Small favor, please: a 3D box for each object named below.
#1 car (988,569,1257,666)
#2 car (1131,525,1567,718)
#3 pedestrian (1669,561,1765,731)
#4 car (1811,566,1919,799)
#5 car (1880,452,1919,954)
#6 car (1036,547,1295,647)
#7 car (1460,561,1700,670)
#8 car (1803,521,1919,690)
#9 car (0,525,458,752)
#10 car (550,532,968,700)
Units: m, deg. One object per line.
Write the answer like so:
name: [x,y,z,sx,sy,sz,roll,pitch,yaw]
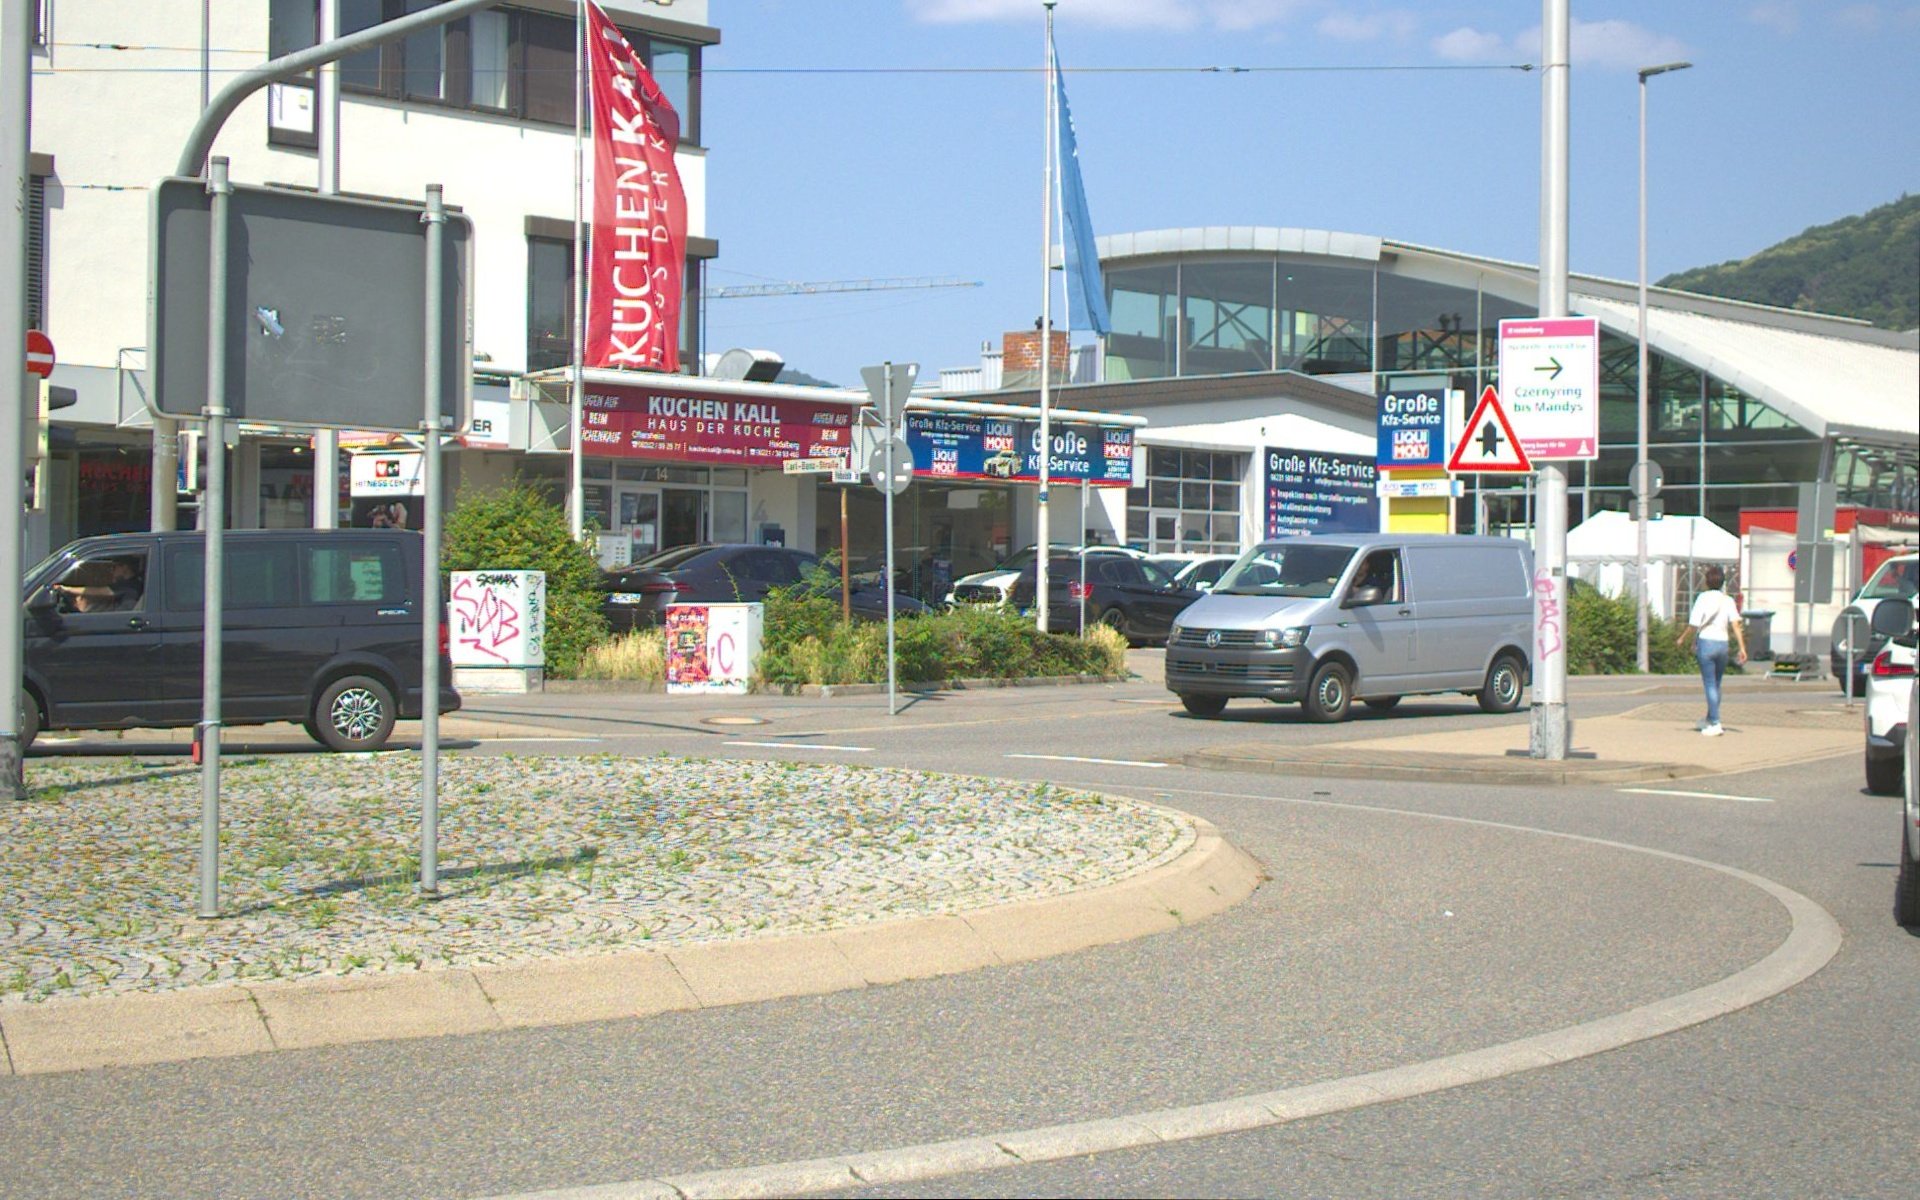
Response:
car: [2.556,0.264,53.300,2.031,1.422,4.307,1,0,38]
car: [4.225,0.212,36.794,4.815,1.929,1.932,0,0,-43]
pedestrian: [7.447,0.446,33.839,0.759,1.651,0.673,1,0,-2]
car: [8.104,0.608,27.633,1.994,1.727,4.562,1,0,8]
car: [5.453,0.439,15.926,2.164,2.006,5.015,4,2,15]
car: [3.526,-0.033,58.154,1.884,1.583,4.917,-2,-1,38]
car: [9.598,0.212,53.036,1.998,1.612,3.991,0,1,39]
car: [13.213,0.038,45.535,2.026,2.107,4.923,2,2,39]
car: [-6.910,0.307,30.343,4.622,1.904,2.099,0,1,-17]
car: [-2.415,0.176,42.616,1.964,1.959,5.267,1,0,43]
